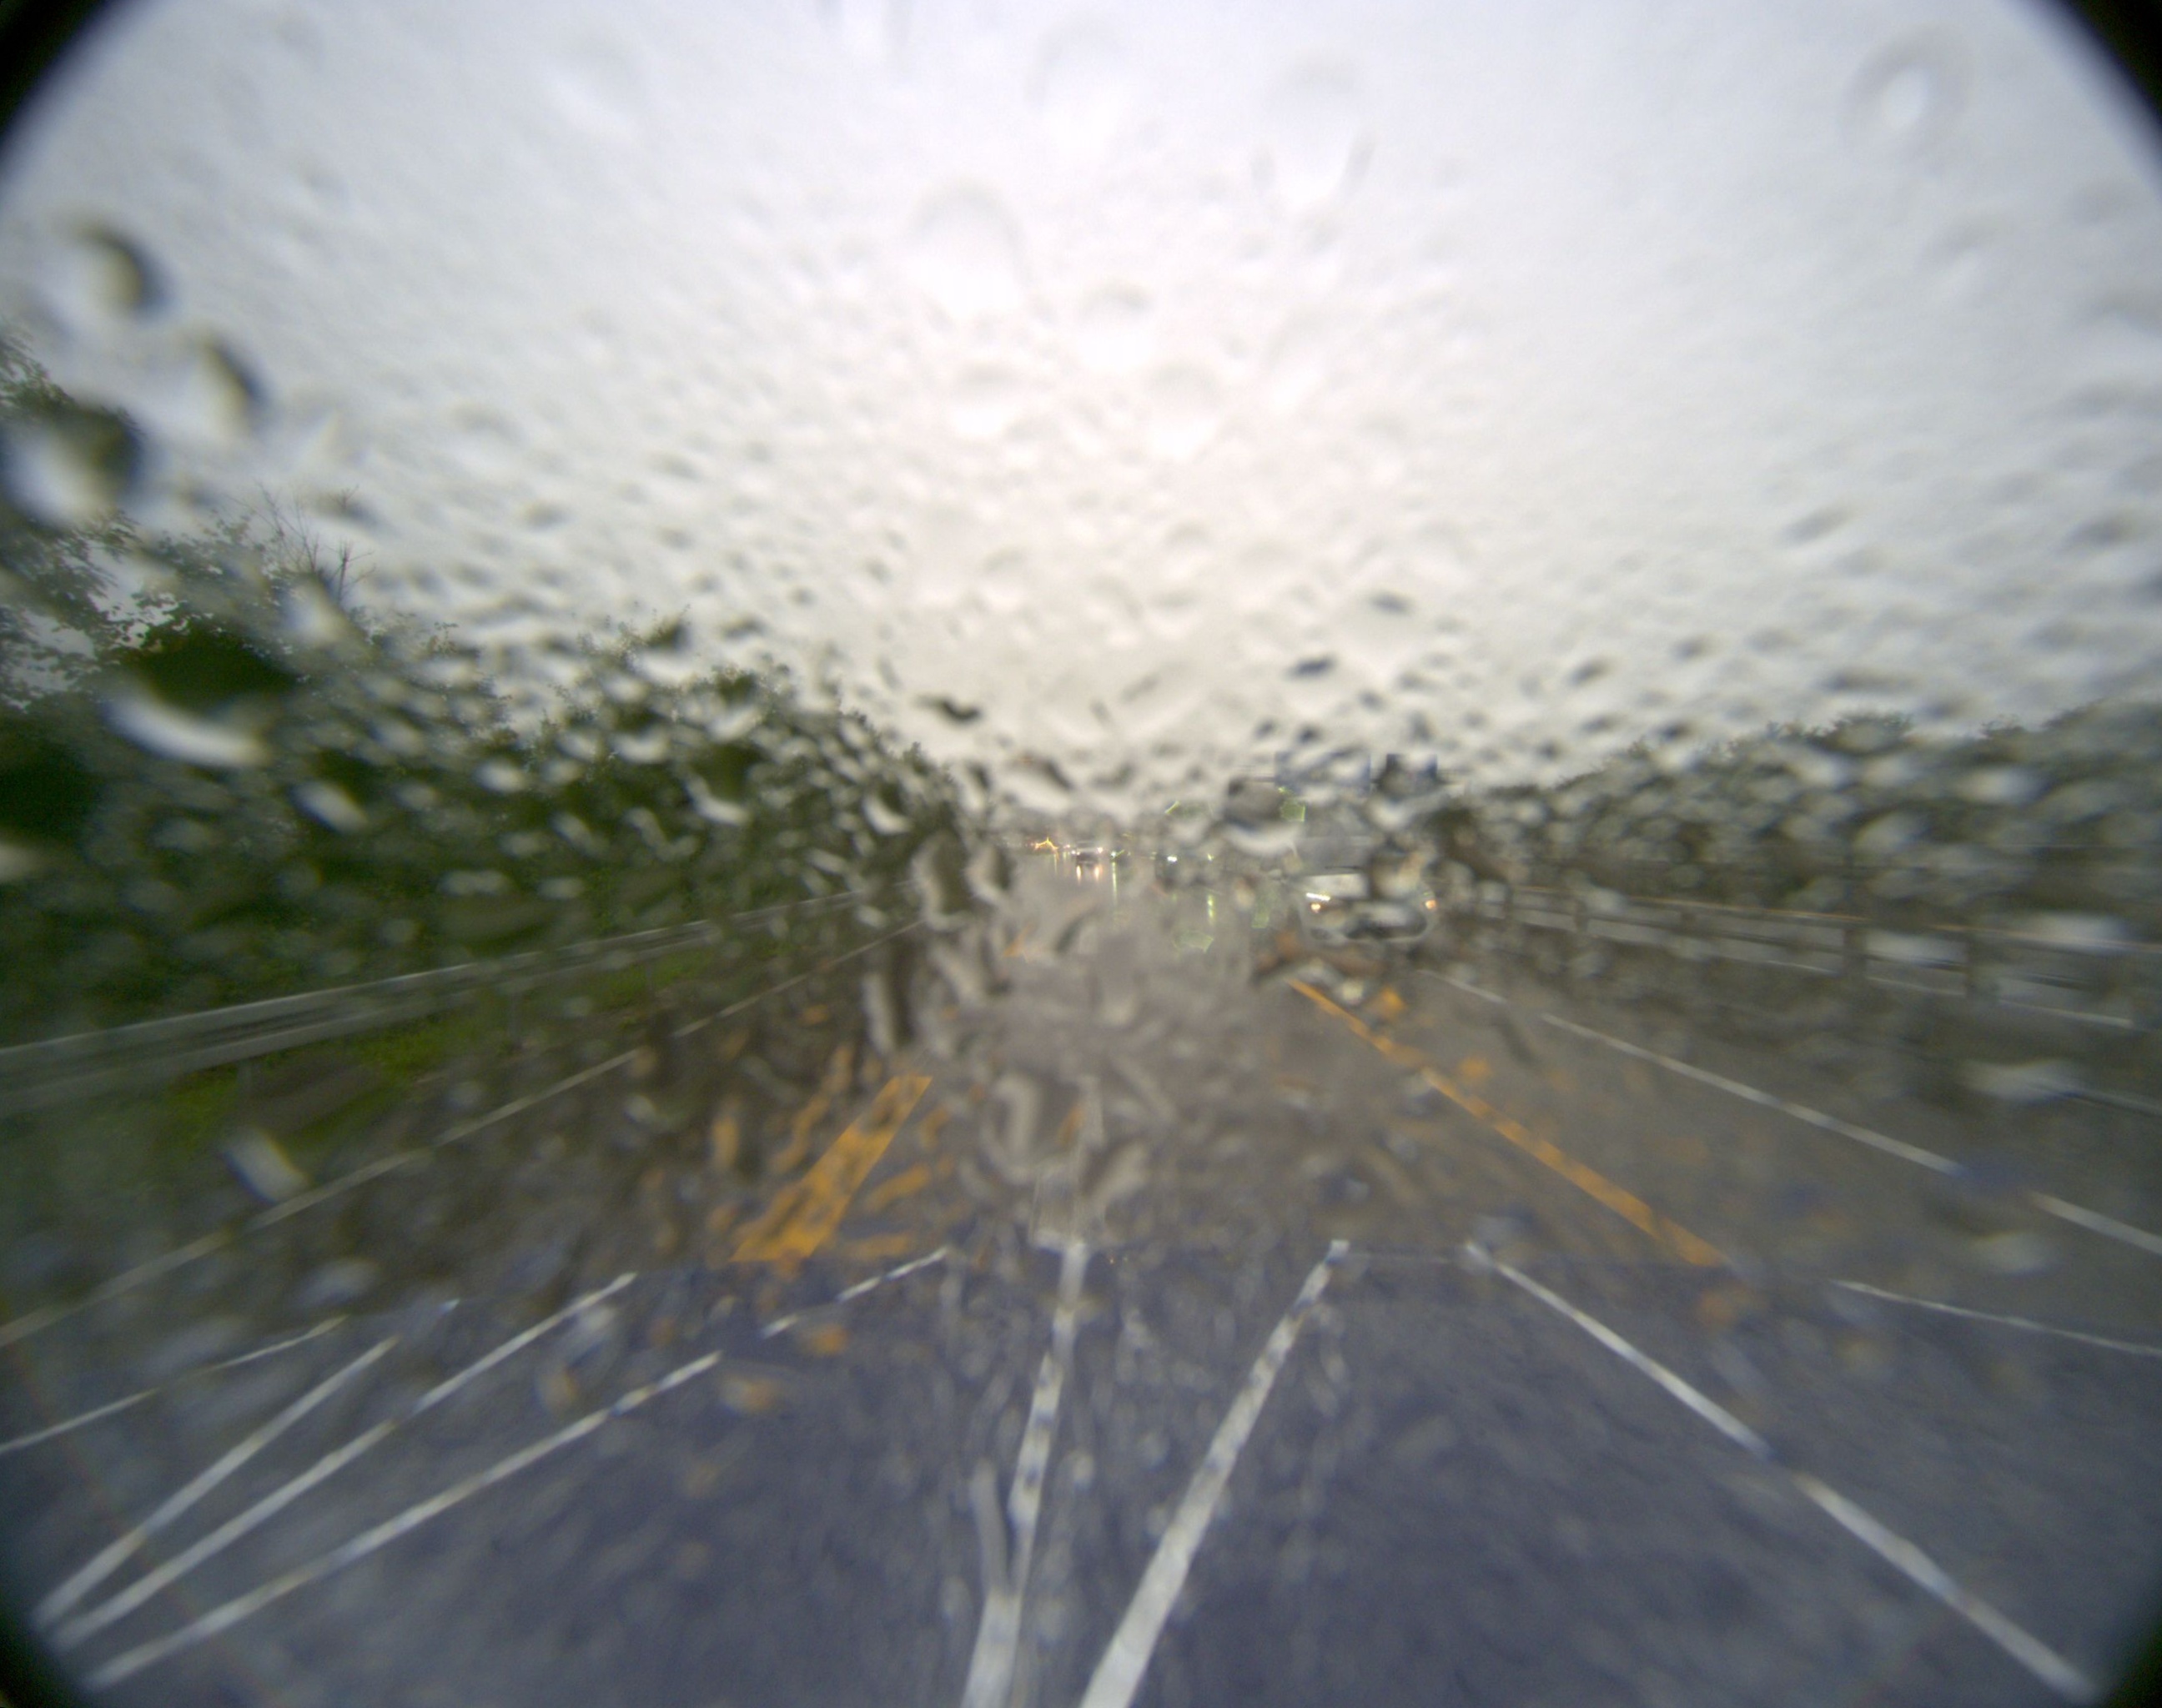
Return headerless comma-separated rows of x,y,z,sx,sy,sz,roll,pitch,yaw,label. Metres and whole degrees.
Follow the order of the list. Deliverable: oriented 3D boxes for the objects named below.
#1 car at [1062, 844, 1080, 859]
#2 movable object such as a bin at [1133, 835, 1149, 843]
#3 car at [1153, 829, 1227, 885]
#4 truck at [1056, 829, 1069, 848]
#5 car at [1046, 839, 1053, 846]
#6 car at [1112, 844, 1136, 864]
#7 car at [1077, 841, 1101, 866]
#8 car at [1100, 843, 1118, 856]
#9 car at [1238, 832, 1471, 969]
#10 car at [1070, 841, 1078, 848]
-1.159,-0.322,87.507,1.881,1.657,3.998,-2,1,-1,car
17.684,-4.494,225.368,3.449,2.282,5.096,-3,1,-9,movable object such as a bin
4.326,0.052,31.058,2.211,2.002,5.562,-2,1,1,car
-4.113,-3.528,169.918,2.484,4.061,8.699,-3,1,-3,truck
-8.844,-3.208,211.436,1.834,1.740,3.998,-3,1,-3,car
3.959,-0.055,70.830,1.695,1.740,3.998,-3,1,-3,car
0.672,-0.080,65.785,1.881,2.002,3.998,-2,1,-1,car
3.492,-0.609,96.810,1.845,1.586,3.998,-3,1,-3,car
3.726,0.557,11.264,1.978,1.586,4.309,-2,0,2,car
-1.642,-2.376,180.607,1.752,1.579,3.998,-3,1,-3,car
